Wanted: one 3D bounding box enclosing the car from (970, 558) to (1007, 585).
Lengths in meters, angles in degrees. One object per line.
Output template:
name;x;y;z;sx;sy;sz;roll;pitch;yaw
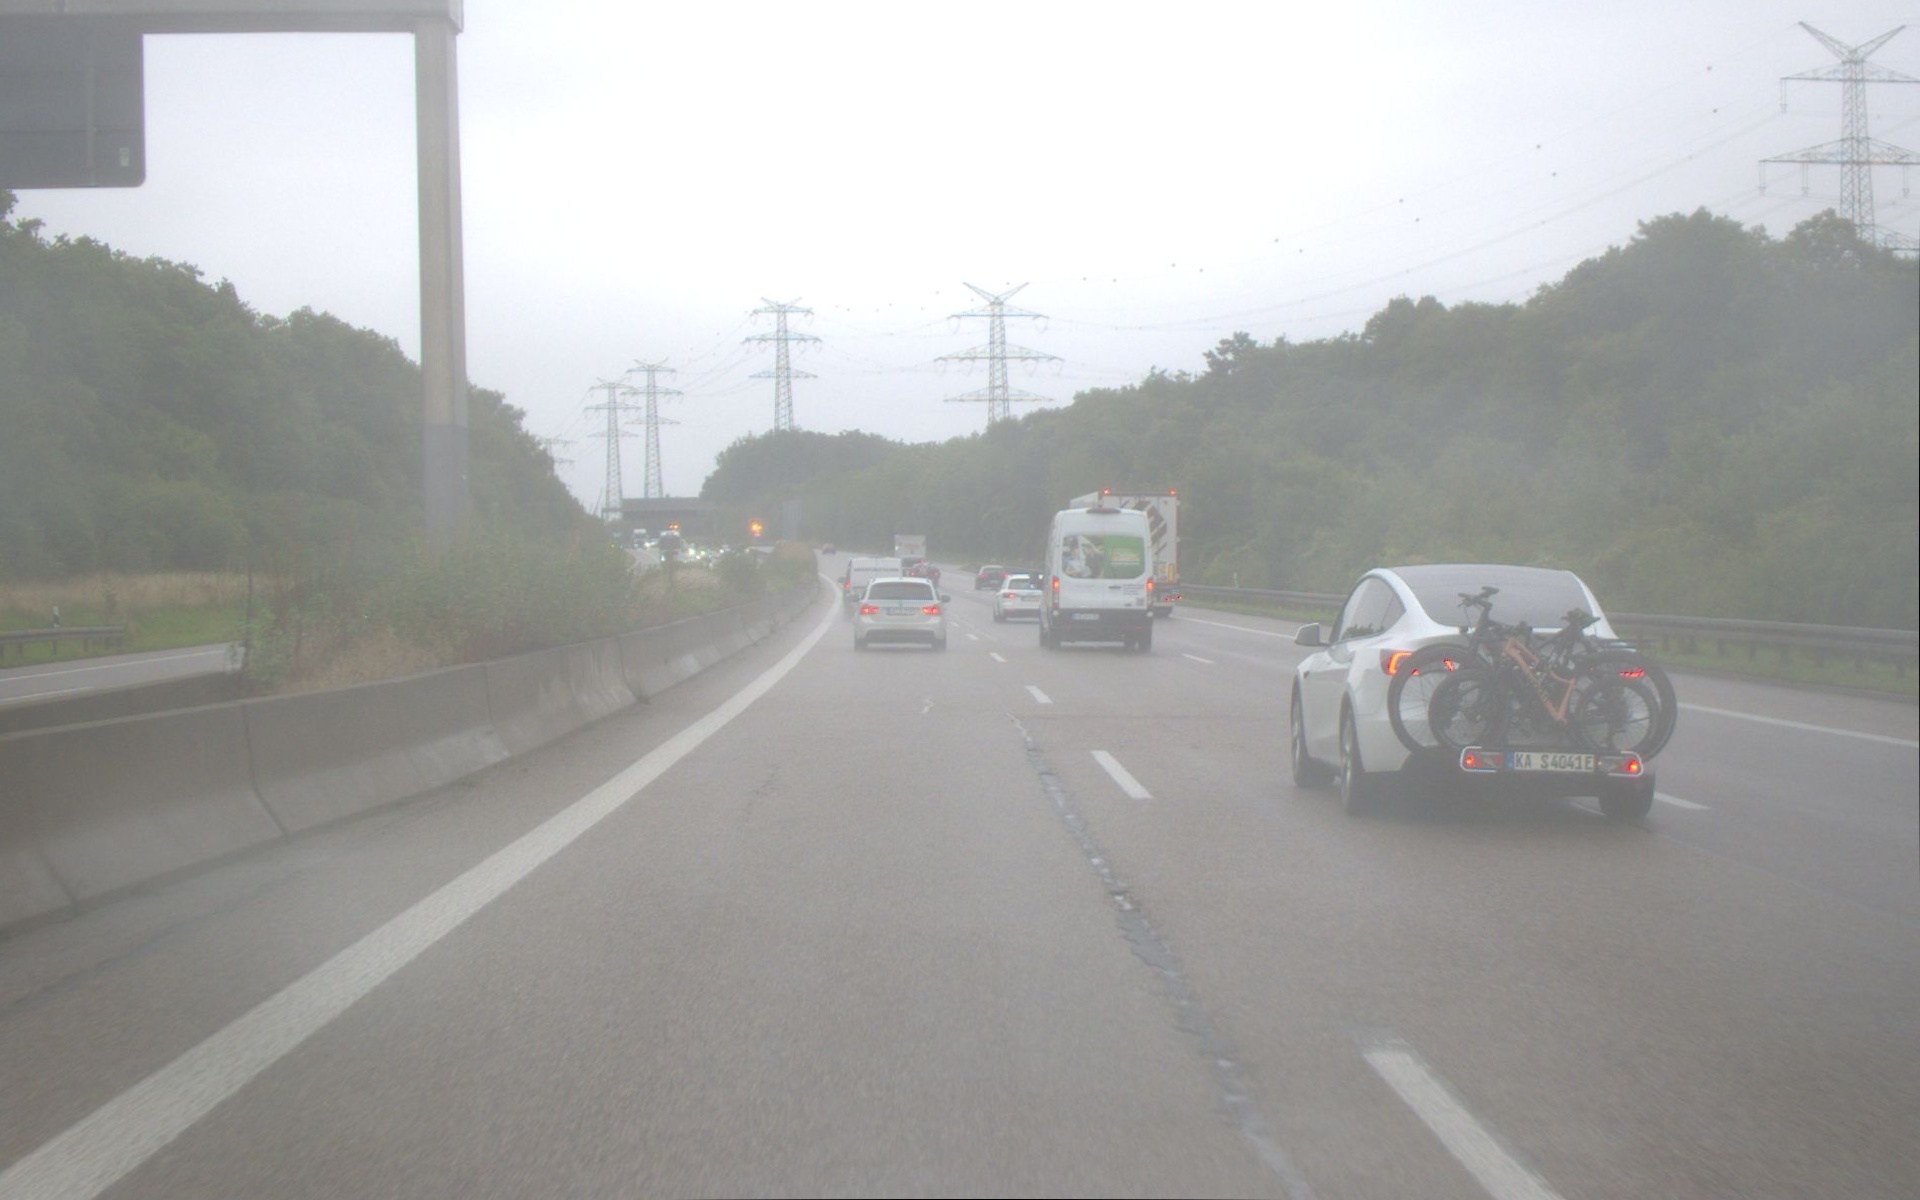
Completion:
car;1.650;-1.644;199.209;1.993;1.481;4.000;-2;0;-1

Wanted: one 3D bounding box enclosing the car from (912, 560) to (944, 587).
car;-2.006;-1.646;214.960;1.993;1.568;4.000;-1;0;-1

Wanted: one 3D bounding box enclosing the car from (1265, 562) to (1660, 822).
car;3.272;0.532;23.352;1.860;1.562;4.964;0;1;-1

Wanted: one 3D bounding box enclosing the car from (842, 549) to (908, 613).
car;-2.445;-0.548;99.582;1.846;1.766;4.000;1;0;-1

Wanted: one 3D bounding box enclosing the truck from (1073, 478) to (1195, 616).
truck;5.684;-1.727;114.492;3.603;4.317;13.199;0;0;1

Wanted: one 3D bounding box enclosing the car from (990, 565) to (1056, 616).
car;1.823;-0.288;100.489;1.857;1.418;4.000;0;1;0

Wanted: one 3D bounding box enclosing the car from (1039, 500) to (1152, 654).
car;2.641;-0.455;67.846;1.993;2.854;4.000;-2;0;1

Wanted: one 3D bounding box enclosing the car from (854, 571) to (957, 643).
car;-1.047;0.121;66.457;1.866;1.284;4.000;-2;0;-1

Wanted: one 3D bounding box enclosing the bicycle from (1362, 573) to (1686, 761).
bicycle;3.322;0.389;20.376;1.753;1.087;0.914;0;-1;-2
